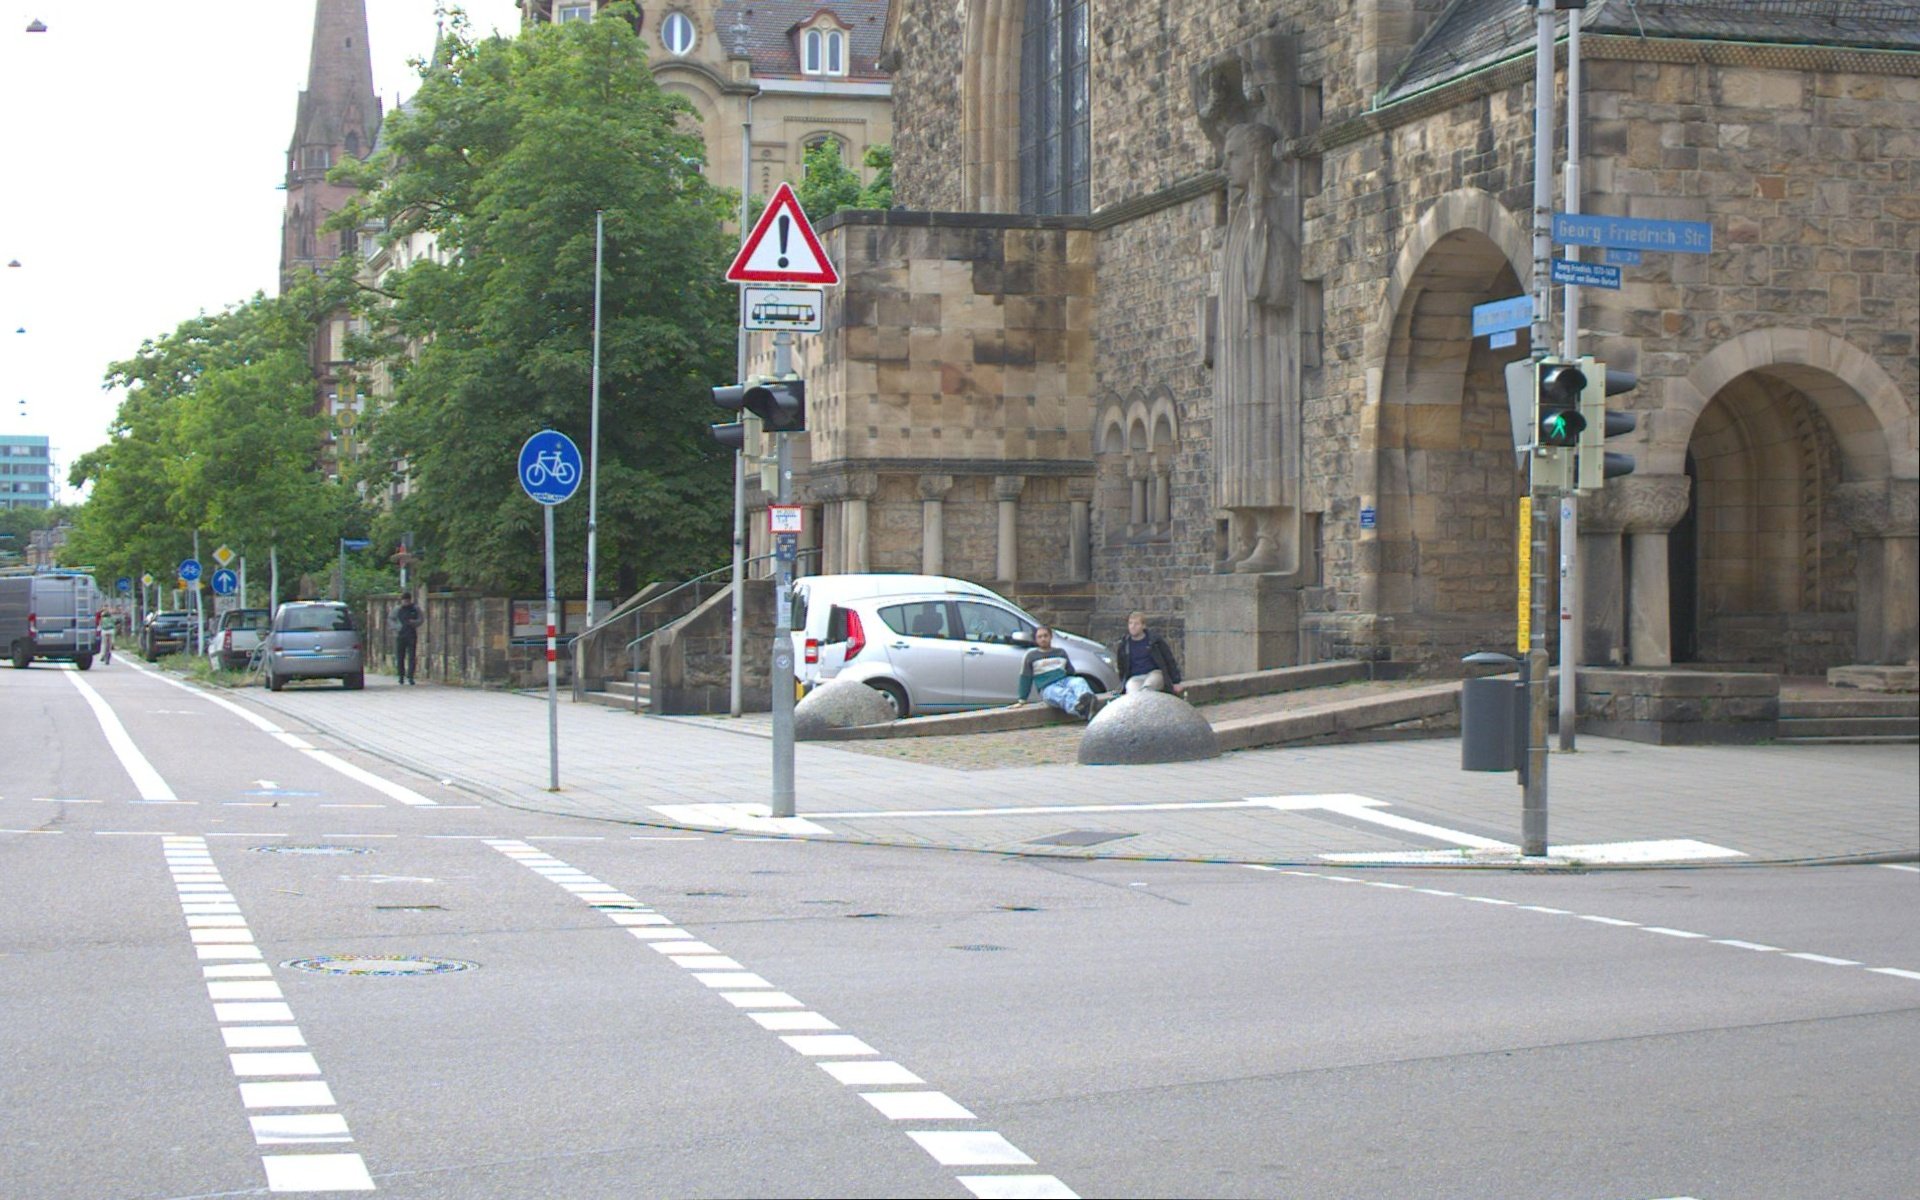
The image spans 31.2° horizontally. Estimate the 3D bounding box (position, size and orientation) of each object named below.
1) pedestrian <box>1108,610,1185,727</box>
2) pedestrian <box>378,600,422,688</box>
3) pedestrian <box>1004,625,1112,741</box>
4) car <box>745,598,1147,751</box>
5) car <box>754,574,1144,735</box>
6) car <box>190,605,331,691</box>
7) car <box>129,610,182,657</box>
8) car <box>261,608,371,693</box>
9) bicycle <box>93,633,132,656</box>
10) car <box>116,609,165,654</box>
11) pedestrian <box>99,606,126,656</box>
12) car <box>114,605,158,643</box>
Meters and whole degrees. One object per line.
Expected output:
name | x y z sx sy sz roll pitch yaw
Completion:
pedestrian | 2.011 0.734 37.117 0.736 1.224 1.062 2 -1 0
pedestrian | -10.607 0.836 65.135 0.776 1.642 0.798 2 -1 -9
pedestrian | 1.040 0.880 36.790 0.736 1.187 1.493 2 -1 -15
car | -0.179 0.865 39.998 4.347 1.631 1.663 2 -1 -15
car | -0.149 0.693 43.569 4.609 1.875 1.663 2 -1 -15
car | -14.858 0.992 72.793 2.201 1.740 5.035 0 0 -20
car | -33.376 1.386 142.562 1.993 1.875 4.001 1 0 -15
car | -11.849 0.903 63.119 1.702 1.454 3.891 2 -1 -14
bicycle | -25.065 1.322 101.661 0.610 0.652 2.381 2 -1 -26
car | -38.234 1.457 160.381 1.993 2.007 4.001 2 -1 -16
pedestrian | -25.115 0.918 101.847 0.651 1.469 0.651 1 0 -25
car | -43.038 1.227 179.505 1.993 1.919 4.001 2 -1 -16
